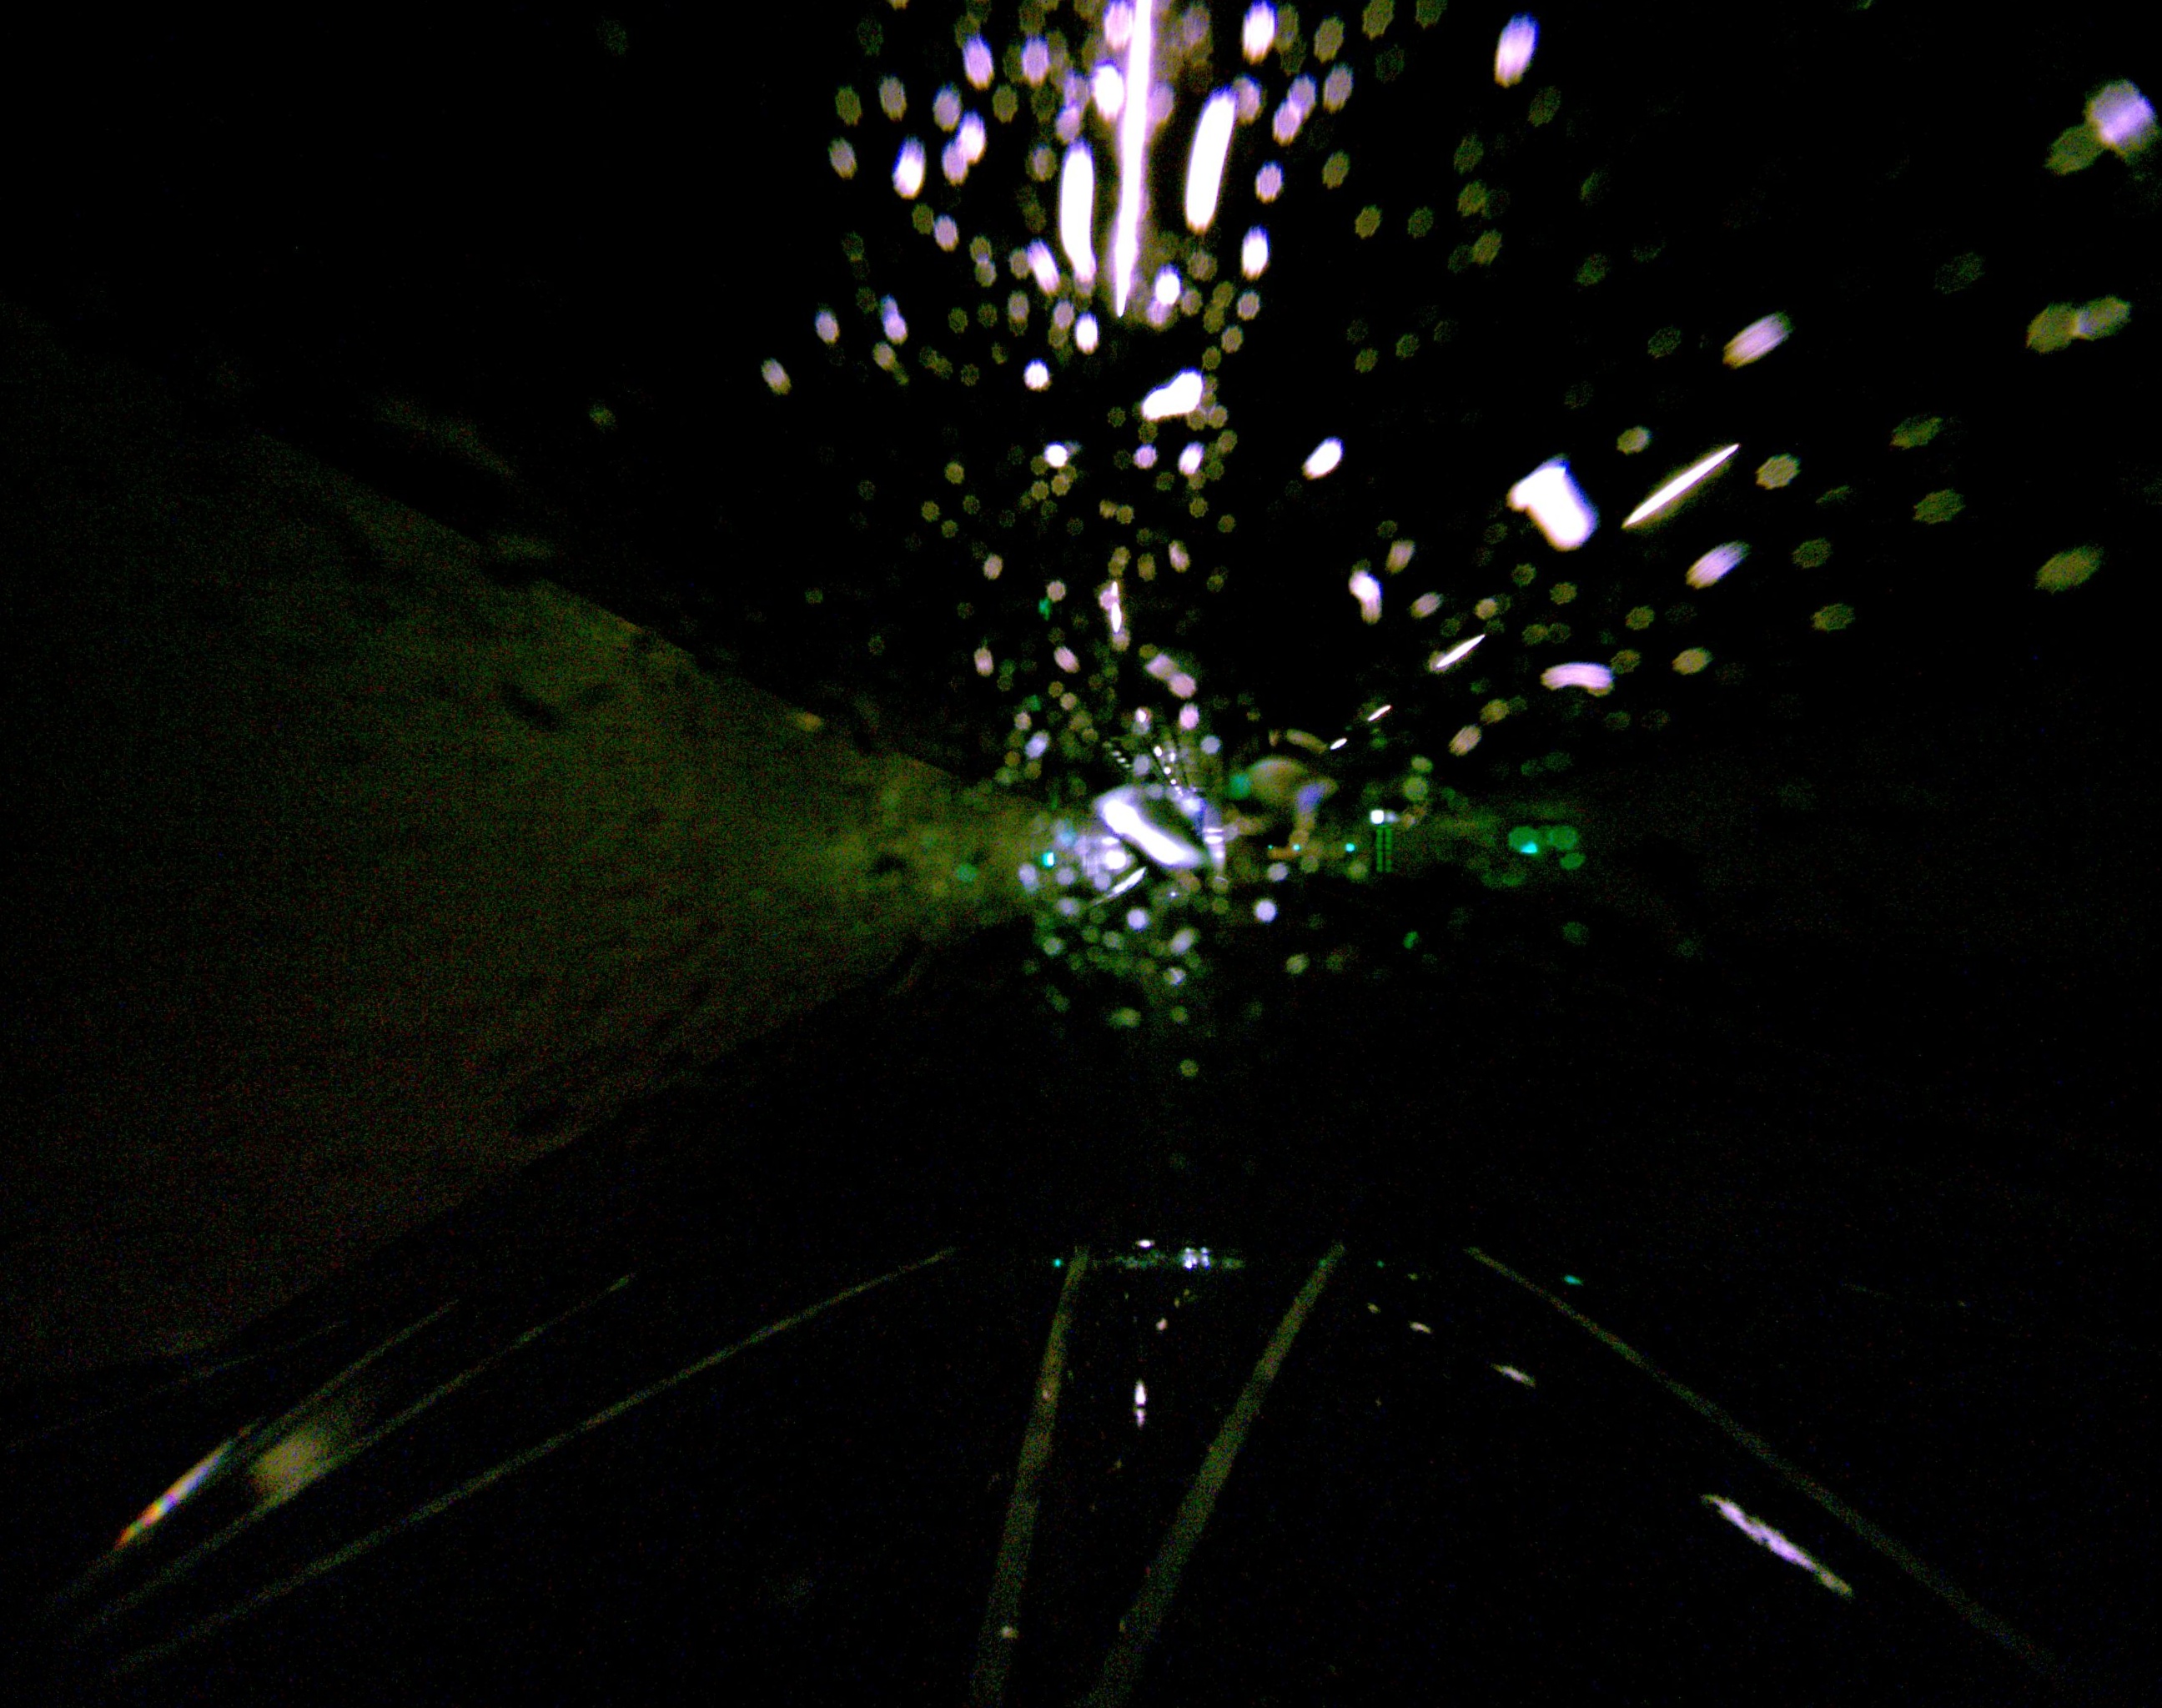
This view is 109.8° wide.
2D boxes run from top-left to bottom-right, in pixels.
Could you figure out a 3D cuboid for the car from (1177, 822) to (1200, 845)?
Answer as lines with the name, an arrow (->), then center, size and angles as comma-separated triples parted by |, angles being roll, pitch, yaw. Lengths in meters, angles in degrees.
car -> 10.112, -1.873, 71.276 | 2.029, 2.017, 4.427 | -2, 1, 9
